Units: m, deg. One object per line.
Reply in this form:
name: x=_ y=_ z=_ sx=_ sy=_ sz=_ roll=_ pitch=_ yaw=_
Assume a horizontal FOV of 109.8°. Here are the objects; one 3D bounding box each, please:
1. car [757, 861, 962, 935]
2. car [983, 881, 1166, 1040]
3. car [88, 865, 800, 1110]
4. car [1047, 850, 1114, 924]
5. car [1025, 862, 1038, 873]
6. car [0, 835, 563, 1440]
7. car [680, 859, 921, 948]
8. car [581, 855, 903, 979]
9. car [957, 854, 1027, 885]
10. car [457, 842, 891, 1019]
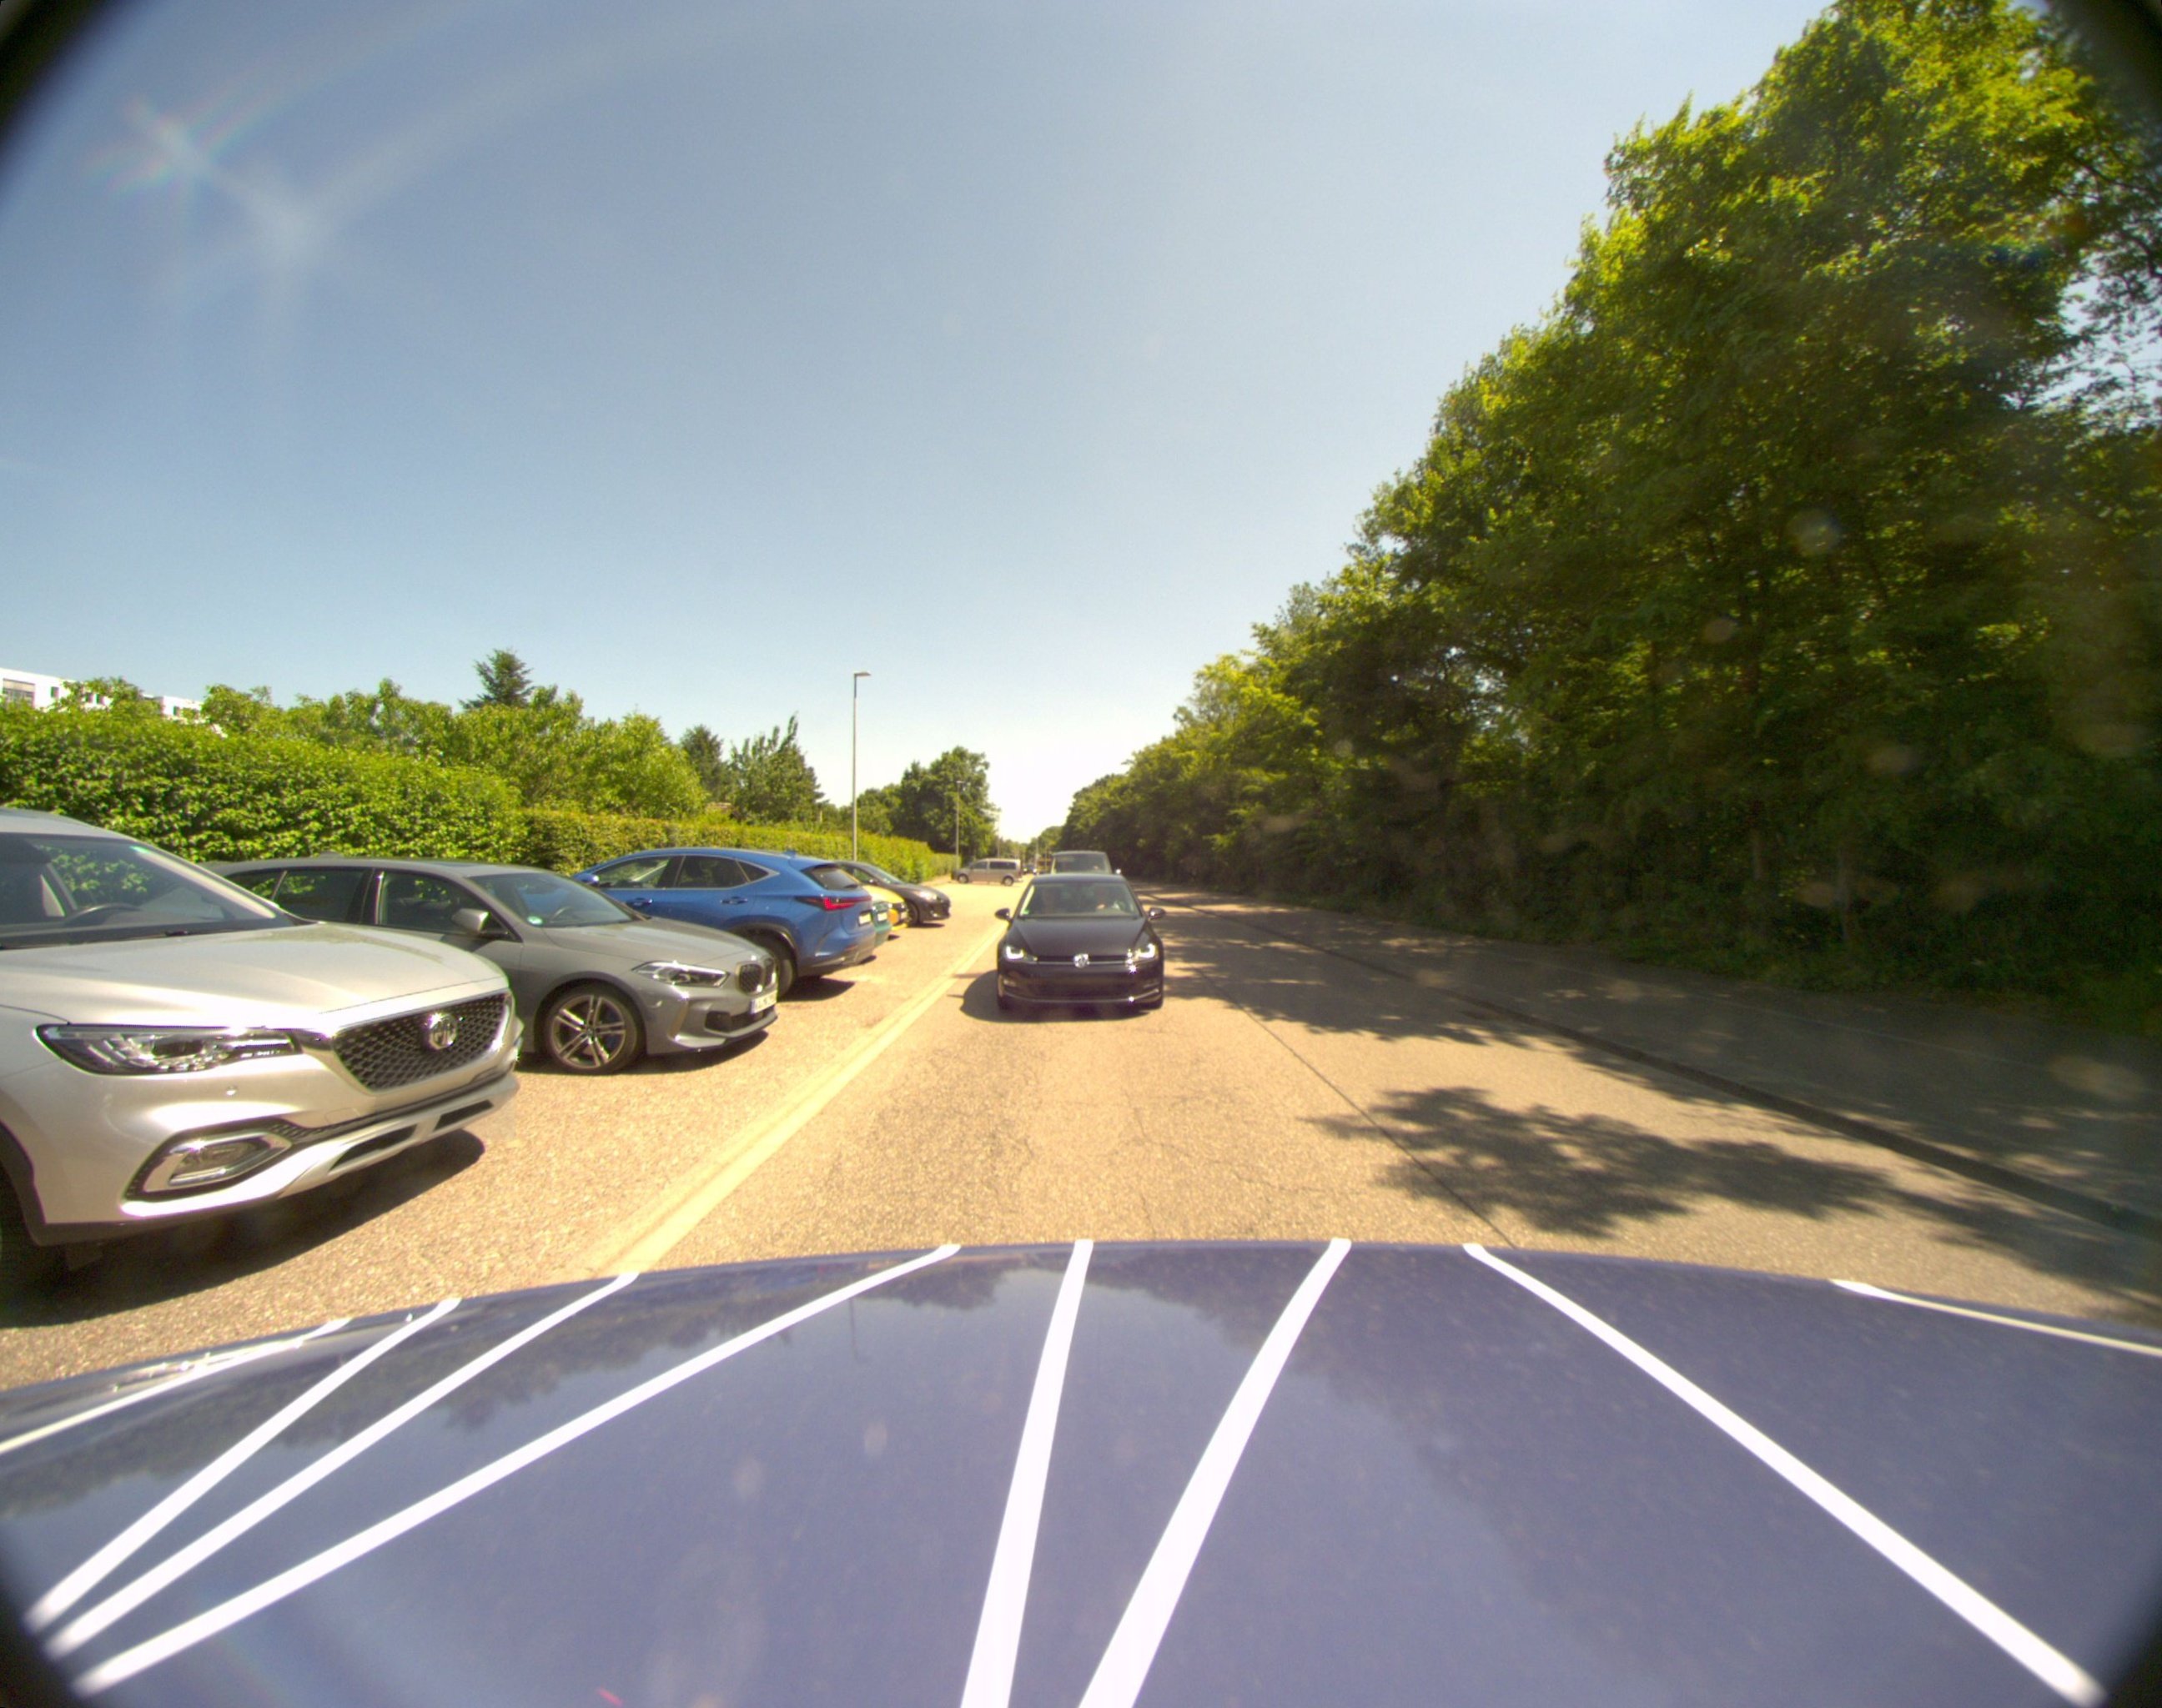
car: x=-5.107 y=0.990 z=17.857 sx=4.251 sy=1.410 sz=1.649 roll=3 pitch=0 yaw=0
car: x=-0.078 y=1.092 z=9.456 sx=1.743 sy=1.396 sz=4.388 roll=-1 pitch=0 yaw=0
car: x=-4.547 y=0.907 z=5.905 sx=4.036 sy=1.401 sz=1.680 roll=3 pitch=0 yaw=-1
car: x=-0.039 y=0.889 z=22.161 sx=1.743 sy=1.904 sz=4.388 roll=-1 pitch=0 yaw=0
car: x=-7.087 y=1.913 z=109.081 sx=1.744 sy=1.396 sz=4.386 roll=1 pitch=-1 yaw=-4
car: x=-4.800 y=0.754 z=3.004 sx=4.170 sy=1.632 sz=1.776 roll=3 pitch=0 yaw=-2
car: x=-5.390 y=0.922 z=14.948 sx=4.036 sy=1.438 sz=1.649 roll=3 pitch=0 yaw=0
car: x=-4.946 y=0.881 z=11.458 sx=4.036 sy=1.505 sz=1.649 roll=3 pitch=0 yaw=0
car: x=-6.004 y=1.027 z=51.495 sx=4.493 sy=1.840 sz=1.695 roll=3 pitch=0 yaw=-4
car: x=-4.481 y=0.805 z=8.800 sx=4.036 sy=1.632 sz=1.674 roll=3 pitch=0 yaw=0
